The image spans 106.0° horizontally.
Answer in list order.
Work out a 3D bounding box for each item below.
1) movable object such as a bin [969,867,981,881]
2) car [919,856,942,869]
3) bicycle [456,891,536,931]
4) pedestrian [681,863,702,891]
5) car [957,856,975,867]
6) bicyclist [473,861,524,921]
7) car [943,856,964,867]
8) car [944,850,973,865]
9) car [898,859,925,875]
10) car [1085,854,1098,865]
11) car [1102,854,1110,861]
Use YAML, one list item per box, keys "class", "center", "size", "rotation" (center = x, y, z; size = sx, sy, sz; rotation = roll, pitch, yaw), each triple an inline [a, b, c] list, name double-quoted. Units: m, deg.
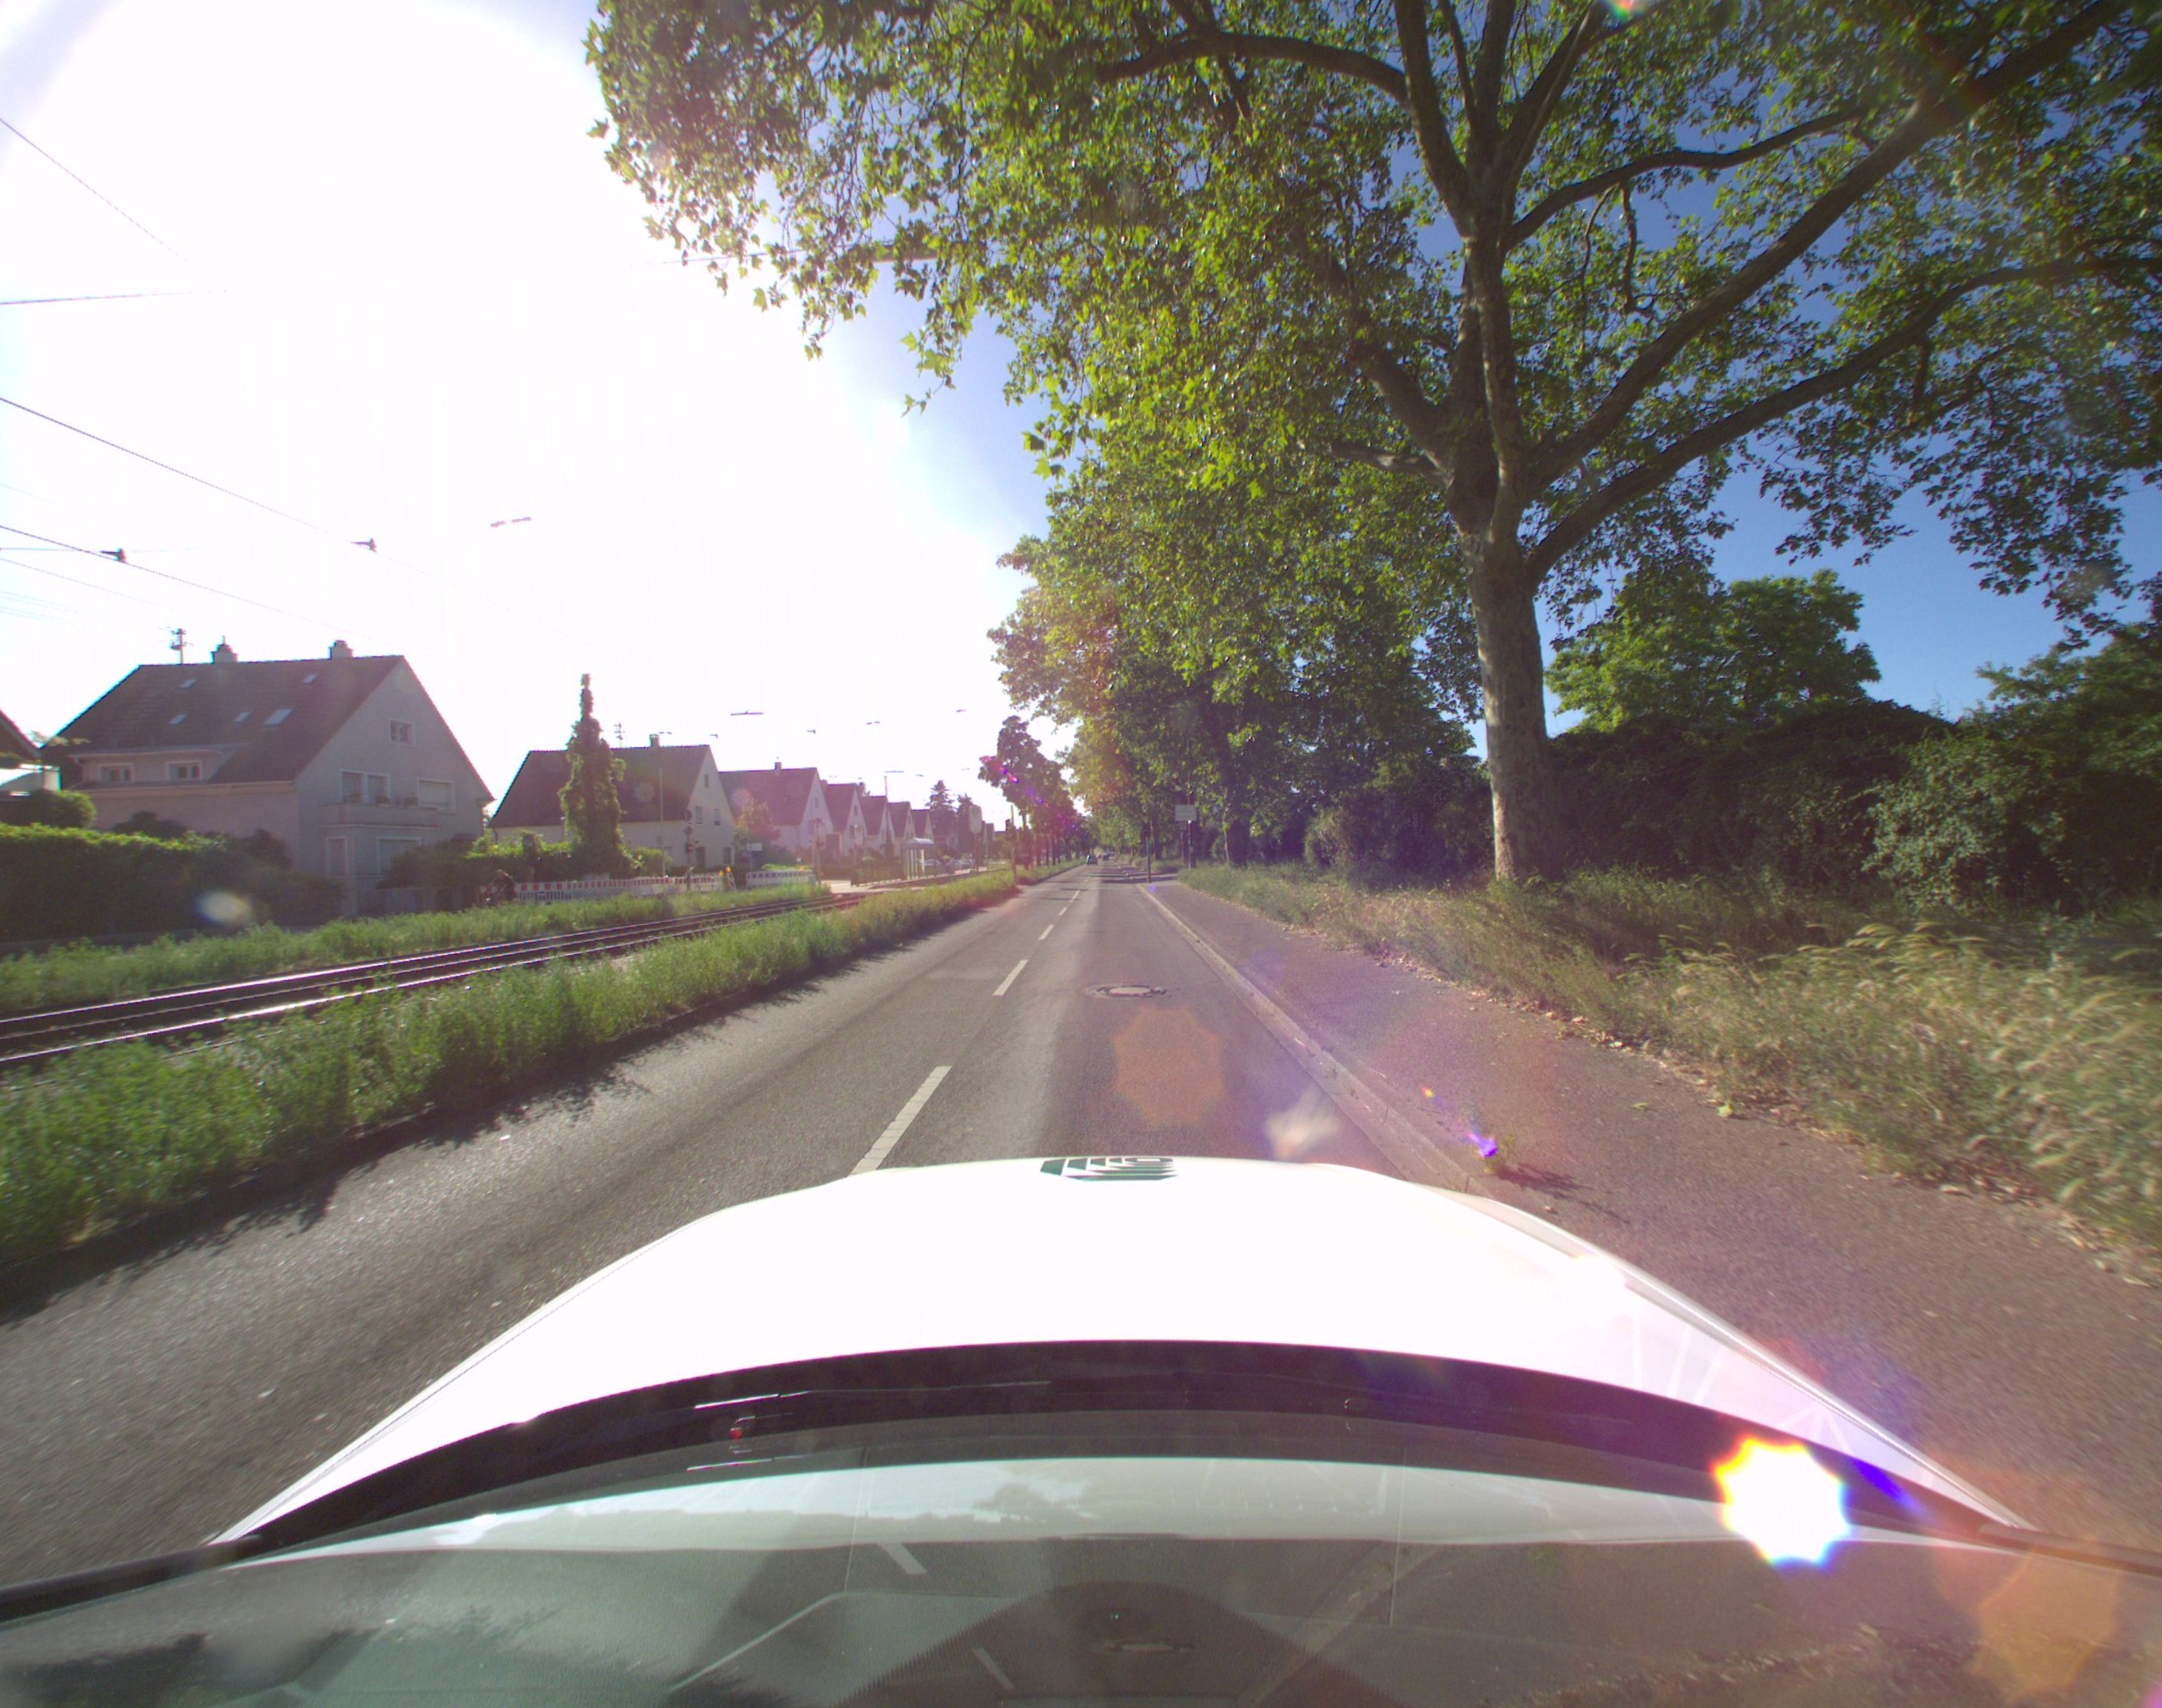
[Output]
- class: "movable object such as a bin"
  center: [-4.360, 0.814, 33.568]
  size: [0.384, 0.582, 0.380]
  rotation: [-1, -1, 10]
- class: "car"
  center: [-18.596, 1.051, 100.481]
  size: [1.919, 1.495, 4.257]
  rotation: [-1, 0, 2]
- class: "bicycle"
  center: [-18.875, 1.805, 26.349]
  size: [0.848, 1.134, 2.310]
  rotation: [-1, 0, 2]
- class: "pedestrian"
  center: [-22.842, 1.333, 47.754]
  size: [0.788, 1.534, 0.814]
  rotation: [-2, 2, 2]
- class: "car"
  center: [-17.437, 1.122, 123.207]
  size: [1.986, 1.450, 4.129]
  rotation: [1, 0, 2]
- class: "bicyclist"
  center: [-18.879, 1.191, 26.397]
  size: [0.848, 1.887, 1.072]
  rotation: [-1, -1, 2]
- class: "car"
  center: [-17.836, 1.019, 114.321]
  size: [1.985, 1.426, 4.414]
  rotation: [-1, 0, 3]
- class: "car"
  center: [-22.404, 0.595, 149.138]
  size: [5.010, 2.625, 2.103]
  rotation: [-2, 0, 1]
- class: "car"
  center: [-18.866, 1.428, 90.712]
  size: [1.986, 1.713, 4.392]
  rotation: [-1, 0, 2]
- class: "car"
  center: [1.639, 0.823, 121.358]
  size: [1.853, 1.601, 4.229]
  rotation: [-1, 0, 1]
- class: "car"
  center: [5.882, 0.902, 191.997]
  size: [1.986, 1.603, 4.474]
  rotation: [-1, 0, 1]
